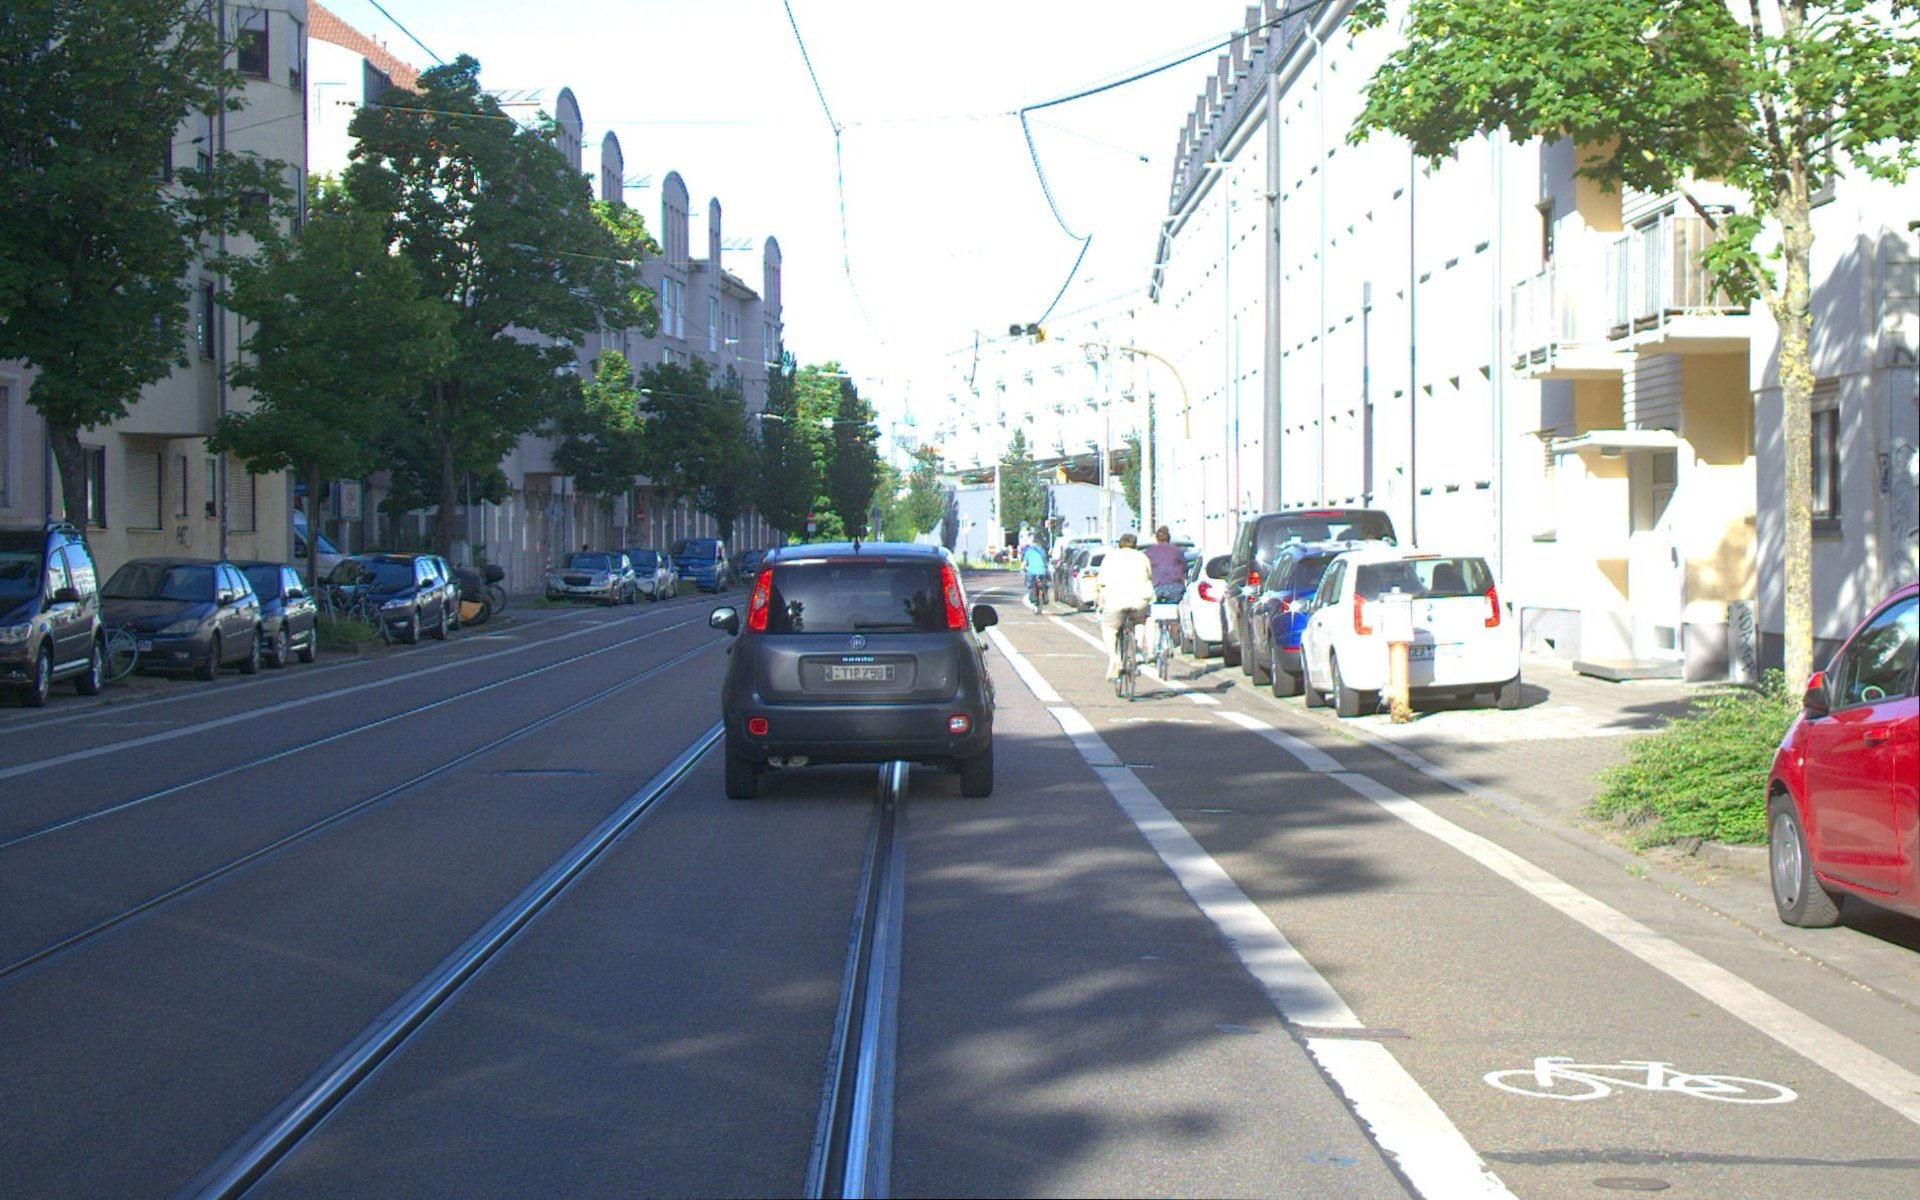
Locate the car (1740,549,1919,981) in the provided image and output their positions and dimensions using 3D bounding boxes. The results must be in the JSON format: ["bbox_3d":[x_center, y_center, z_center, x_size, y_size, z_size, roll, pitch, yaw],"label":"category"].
[{"bbox_3d":[4.184,0.558,12.949,1.635,1.503,3.397,-2,1,-1],"label":"car"}]

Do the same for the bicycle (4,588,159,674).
[{"bbox_3d":[-10.052,0.352,39.354,1.631,0.934,0.517,1,1,-4],"label":"bicycle"}]

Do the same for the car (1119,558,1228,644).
[{"bbox_3d":[3.772,-0.006,61.172,1.583,1.400,3.377,-3,1,-1],"label":"car"}]

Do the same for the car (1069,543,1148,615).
[{"bbox_3d":[3.457,-0.504,80.287,1.583,1.593,3.377,1,1,-1],"label":"car"}]

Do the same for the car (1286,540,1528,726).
[{"bbox_3d":[4.017,0.258,31.386,1.655,1.566,3.499,1,1,-1],"label":"car"}]

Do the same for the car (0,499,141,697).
[{"bbox_3d":[-9.969,-0.072,35.918,1.808,1.937,4.334,1,1,-1],"label":"car"}]

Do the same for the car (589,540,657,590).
[{"bbox_3d":[-10.525,-1.104,107.667,1.707,1.491,3.722,1,1,0],"label":"car"}]

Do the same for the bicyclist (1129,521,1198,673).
[{"bbox_3d":[2.379,-0.038,40.285,0.699,1.753,0.757,1,1,-1],"label":"bicyclist"}]

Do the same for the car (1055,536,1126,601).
[{"bbox_3d":[3.339,-0.828,88.259,1.583,1.593,3.377,1,1,-1],"label":"car"}]

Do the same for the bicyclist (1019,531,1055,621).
[{"bbox_3d":[1.732,-0.539,77.481,0.715,2.007,0.832,1,1,-1],"label":"bicyclist"}]

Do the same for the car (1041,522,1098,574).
[{"bbox_3d":[3.425,-1.633,107.819,1.583,1.593,3.377,1,1,-1],"label":"car"}]

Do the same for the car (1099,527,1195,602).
[{"bbox_3d":[3.655,-0.707,67.621,1.583,1.400,3.377,1,1,-1],"label":"car"}]

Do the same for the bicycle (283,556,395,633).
[{"bbox_3d":[-10.057,-0.089,55.700,1.728,1.192,0.372,1,1,-4],"label":"bicycle"}]

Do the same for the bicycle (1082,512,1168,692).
[{"bbox_3d":[1.649,0.001,34.662,0.675,1.741,2.158,1,1,-1],"label":"bicycle"}]

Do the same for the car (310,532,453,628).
[{"bbox_3d":[-9.900,-0.360,59.064,1.835,1.551,4.000,1,1,-1],"label":"car"}]

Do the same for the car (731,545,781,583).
[{"bbox_3d":[-8.153,-1.453,137.571,1.707,1.491,3.722,1,1,0],"label":"car"}]

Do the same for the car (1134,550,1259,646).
[{"bbox_3d":[3.619,-0.055,53.002,1.583,1.400,3.377,1,1,-1],"label":"car"}]

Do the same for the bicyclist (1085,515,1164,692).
[{"bbox_3d":[1.652,0.030,34.630,0.699,1.753,0.757,1,1,-1],"label":"bicyclist"}]

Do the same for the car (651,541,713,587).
[{"bbox_3d":[-9.310,-1.220,115.356,1.707,1.491,3.722,1,1,0],"label":"car"}]

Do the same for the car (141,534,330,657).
[{"bbox_3d":[-10.118,-0.087,48.272,1.808,1.614,4.064,1,1,-1],"label":"car"}]

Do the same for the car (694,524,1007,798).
[{"bbox_3d":[-0.723,0.317,20.863,1.731,1.503,3.397,-1,1,-4],"label":"car"}]

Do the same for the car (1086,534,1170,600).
[{"bbox_3d":[3.700,-0.746,76.012,1.583,1.400,3.377,1,1,-1],"label":"car"}]

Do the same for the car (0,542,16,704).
[{"bbox_3d":[-9.754,0.223,29.928,1.808,1.503,4.681,1,1,-1],"label":"car"}]

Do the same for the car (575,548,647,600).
[{"bbox_3d":[-10.427,-0.789,102.835,1.707,1.491,3.722,1,1,0],"label":"car"}]

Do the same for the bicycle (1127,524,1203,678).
[{"bbox_3d":[2.390,-0.001,40.276,0.675,1.741,2.158,1,1,-1],"label":"bicycle"}]

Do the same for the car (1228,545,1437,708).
[{"bbox_3d":[3.826,0.233,35.886,1.655,1.566,3.876,1,1,-1],"label":"car"}]

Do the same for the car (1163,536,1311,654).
[{"bbox_3d":[3.720,-0.091,46.554,1.655,1.495,3.130,1,1,-1],"label":"car"}]

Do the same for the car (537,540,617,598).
[{"bbox_3d":[-10.389,-0.852,93.350,1.707,1.491,3.722,1,1,0],"label":"car"}]

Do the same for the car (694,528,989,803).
[{"bbox_3d":[-0.713,0.339,21.762,1.650,1.536,4.235,1,1,-1],"label":"car"}]

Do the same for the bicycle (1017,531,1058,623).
[{"bbox_3d":[1.730,-0.532,77.312,0.741,2.007,2.812,1,1,-1],"label":"bicycle"}]

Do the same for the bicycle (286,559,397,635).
[{"bbox_3d":[-10.162,-0.053,56.510,1.728,1.192,0.372,1,1,-4],"label":"bicycle"}]

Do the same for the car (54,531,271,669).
[{"bbox_3d":[-9.976,-0.026,43.281,1.808,1.614,4.064,1,1,-1],"label":"car"}]

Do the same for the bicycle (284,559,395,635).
[{"bbox_3d":[-10.113,-0.055,56.096,1.728,1.192,0.372,1,1,-4],"label":"bicycle"}]

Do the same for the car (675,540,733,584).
[{"bbox_3d":[-9.062,-1.347,121.795,1.707,1.491,3.722,1,1,0],"label":"car"}]

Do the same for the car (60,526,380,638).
[{"bbox_3d":[-17.100,-0.421,79.699,6.901,2.395,2.176,1,1,1],"label":"car"}]

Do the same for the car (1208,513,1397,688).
[{"bbox_3d":[4.023,-0.029,41.030,1.655,1.937,4.665,1,1,-1],"label":"car"}]

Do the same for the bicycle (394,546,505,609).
[{"bbox_3d":[-10.845,-0.480,73.061,2.275,1.284,0.758,1,1,-5],"label":"bicycle"}]
